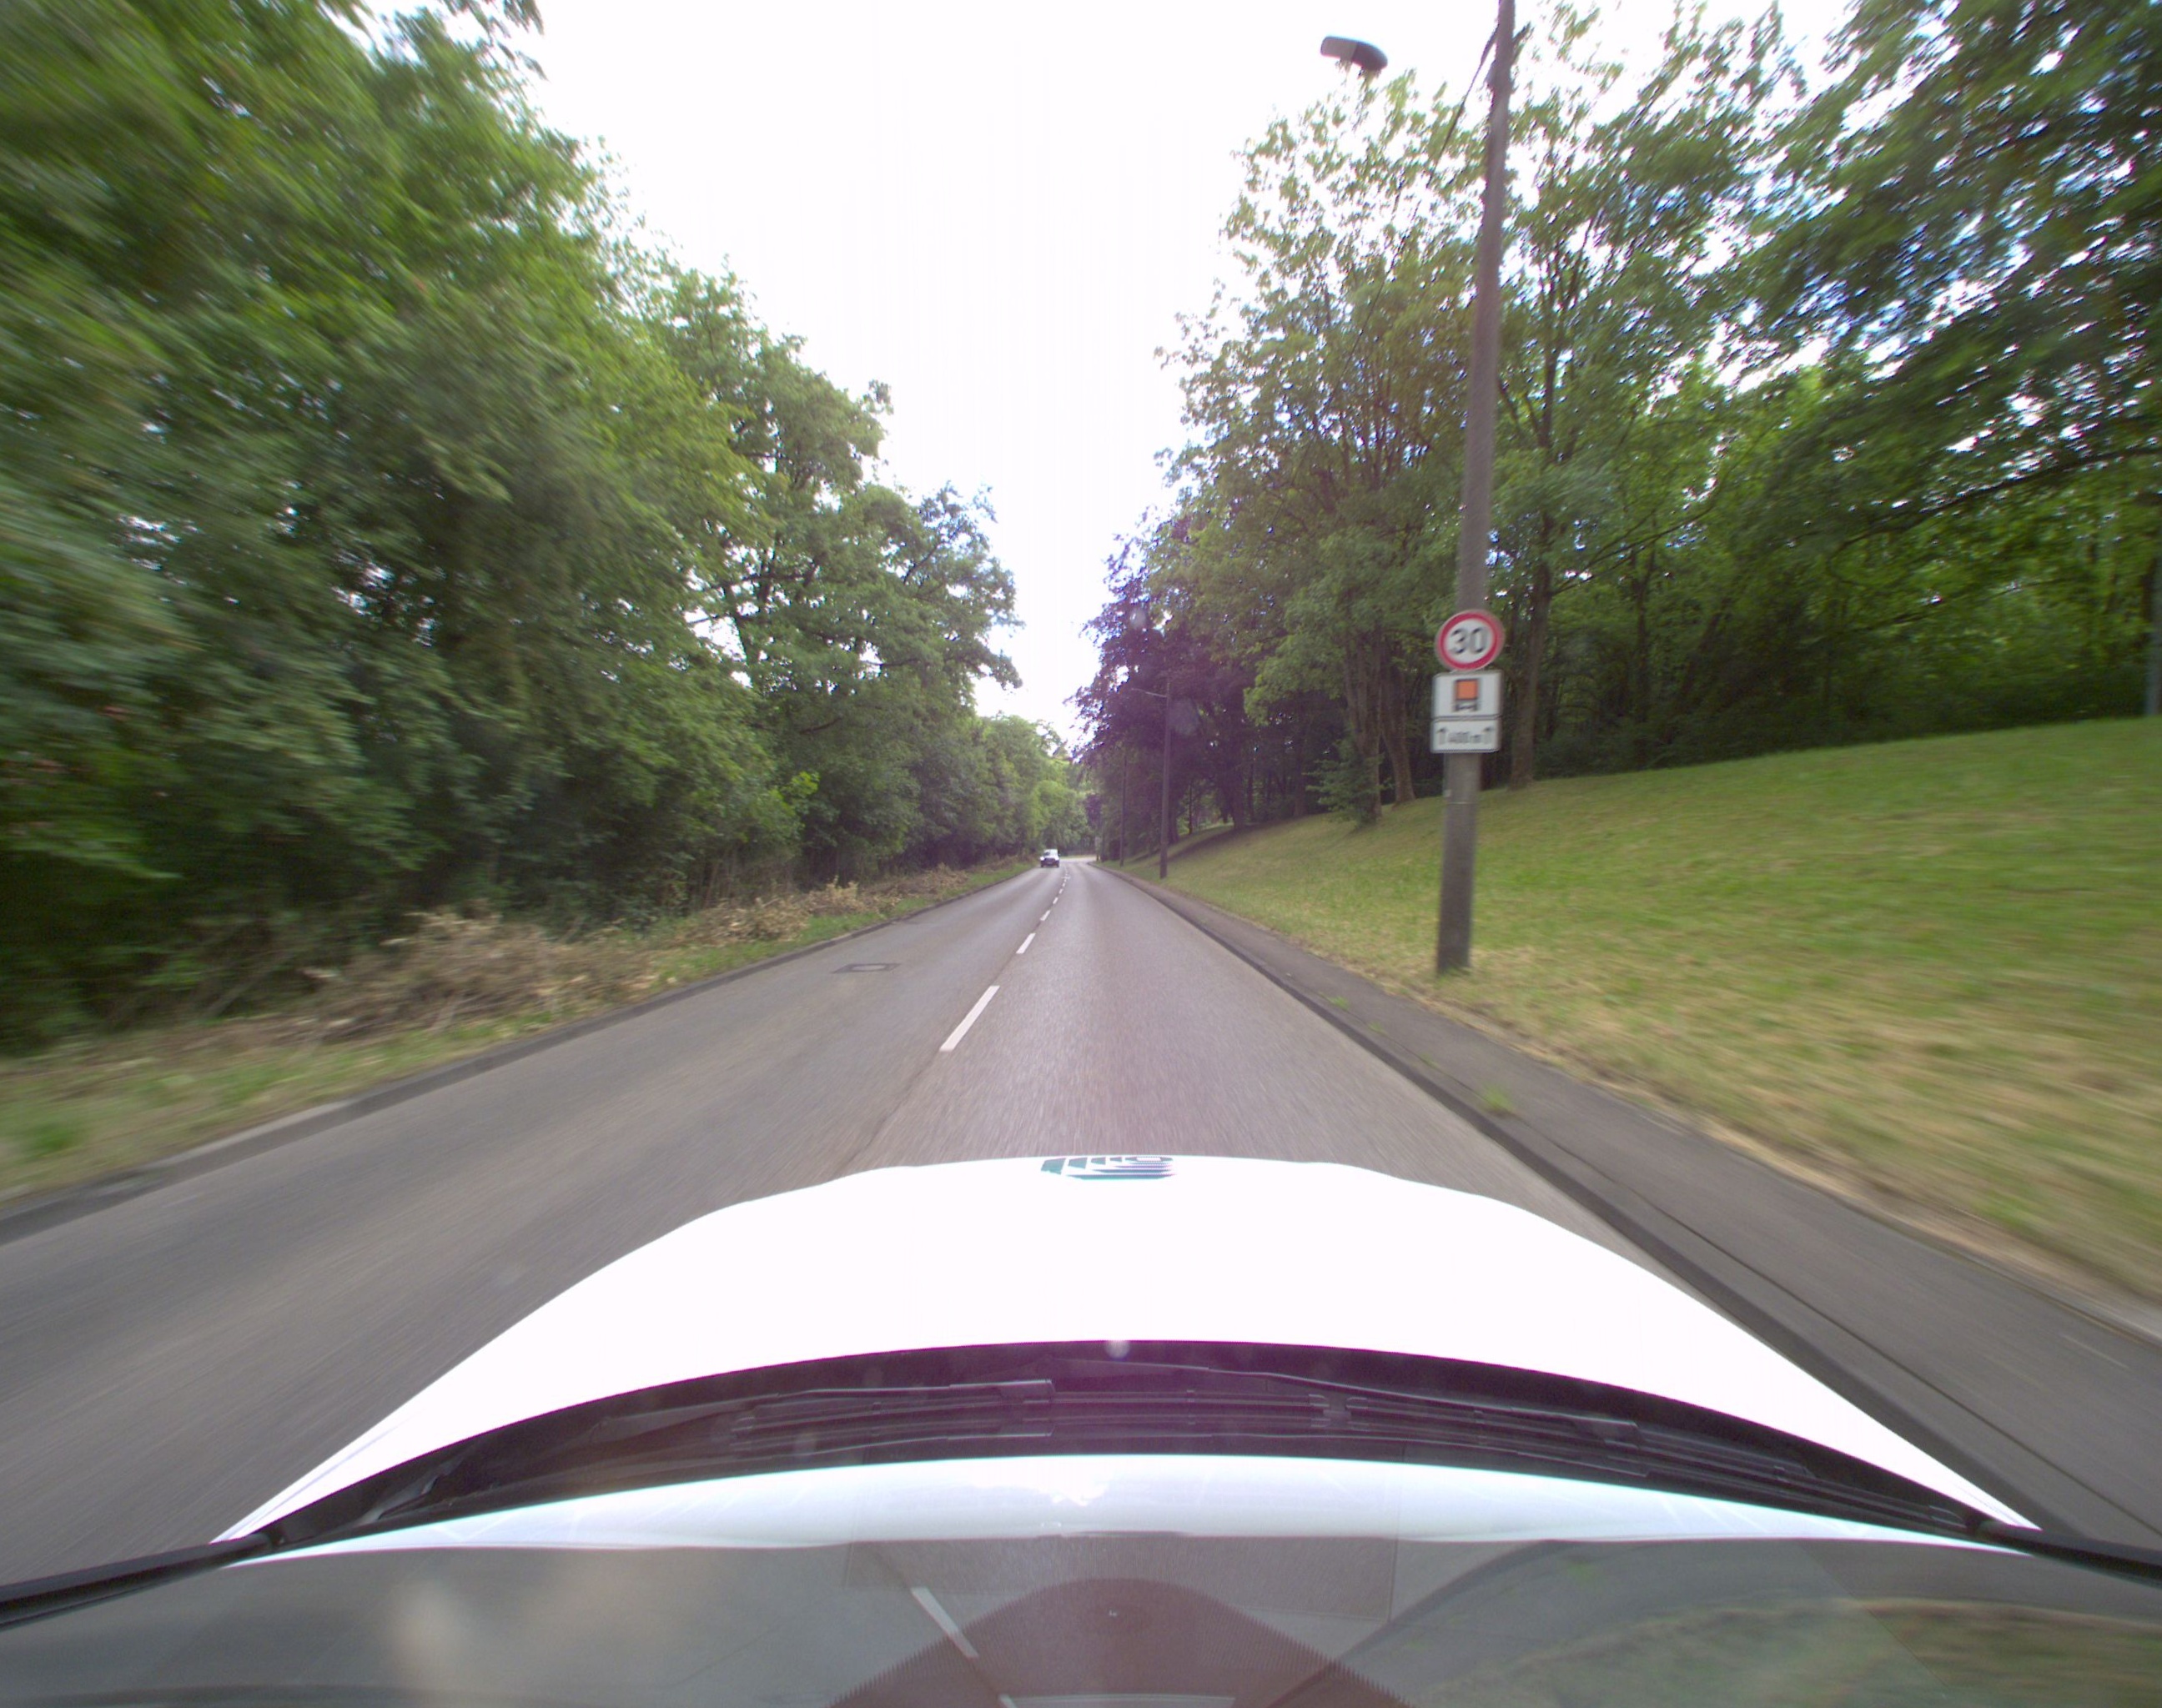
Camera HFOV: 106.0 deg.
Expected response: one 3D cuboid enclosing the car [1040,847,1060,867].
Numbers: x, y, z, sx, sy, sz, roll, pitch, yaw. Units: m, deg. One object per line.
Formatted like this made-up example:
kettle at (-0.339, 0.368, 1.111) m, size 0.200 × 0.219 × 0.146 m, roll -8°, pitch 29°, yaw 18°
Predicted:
car at (-3.237, 0.316, 85.520) m, size 1.988 × 1.948 × 4.942 m, roll 0°, pitch 0°, yaw -1°
